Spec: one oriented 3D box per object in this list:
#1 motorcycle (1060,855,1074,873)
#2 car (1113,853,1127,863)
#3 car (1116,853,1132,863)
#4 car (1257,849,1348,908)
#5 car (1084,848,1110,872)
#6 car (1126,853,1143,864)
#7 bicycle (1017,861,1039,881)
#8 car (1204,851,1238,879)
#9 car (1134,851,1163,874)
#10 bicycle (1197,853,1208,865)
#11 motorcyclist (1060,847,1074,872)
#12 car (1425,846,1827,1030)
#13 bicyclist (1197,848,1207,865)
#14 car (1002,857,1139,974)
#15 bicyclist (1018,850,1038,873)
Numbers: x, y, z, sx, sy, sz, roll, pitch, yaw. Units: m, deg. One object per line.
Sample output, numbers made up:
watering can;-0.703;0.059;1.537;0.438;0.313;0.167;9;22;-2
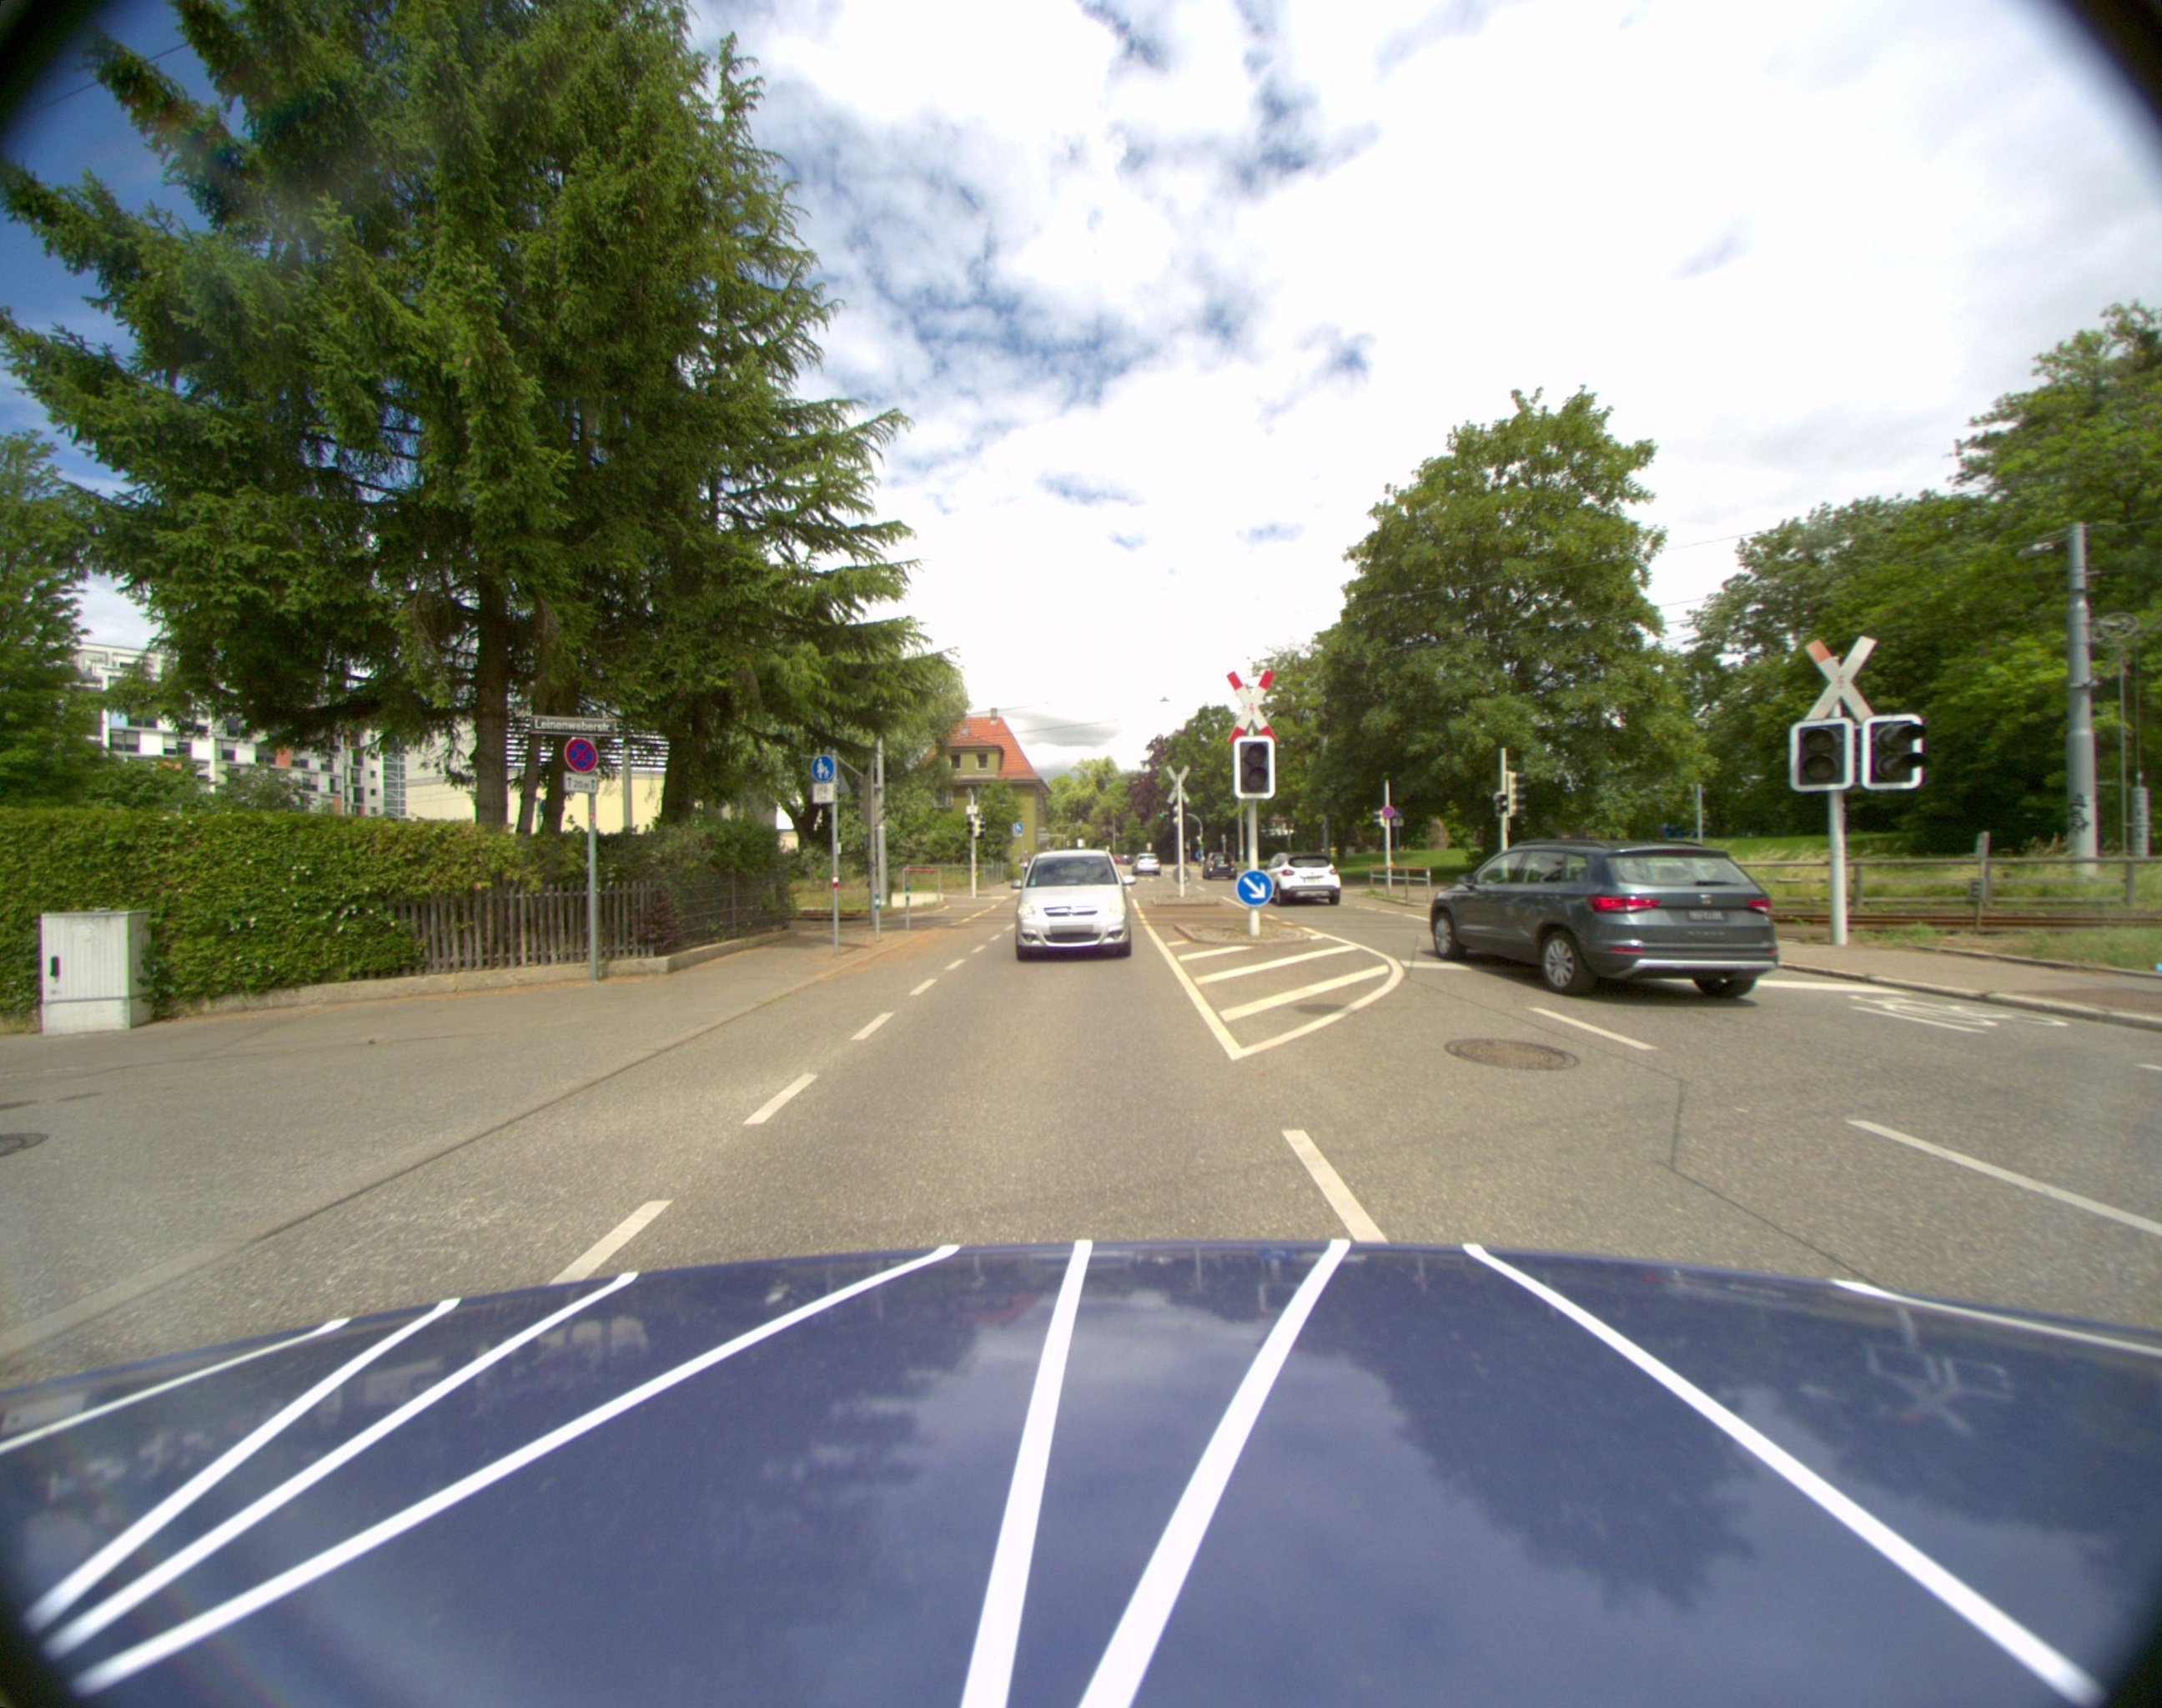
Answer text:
motorcycle;-0.908;0.631;48.677;0.837;1.101;1.800;0;1;1
car;6.413;0.676;125.467;1.899;1.501;3.998;0;0;-5
car;6.806;0.650;120.926;1.899;1.501;3.998;0;0;-5
car;6.655;0.668;23.252;1.779;1.594;4.039;-1;0;3
car;1.346;0.464;66.047;1.999;1.983;4.369;-1;1;-1
car;7.885;0.656;112.024;1.899;1.501;3.998;0;0;-5
bicycle;-2.914;0.915;42.057;0.934;1.034;1.915;1;0;4
car;7.851;0.604;42.919;1.578;1.501;2.789;-1;0;4
car;4.592;0.551;52.197;1.692;1.450;4.069;-1;1;0
bicycle;12.221;0.516;76.645;0.813;1.101;1.800;-3;1;1
motorcyclist;-0.911;0.361;48.647;0.837;1.547;0.650;0;1;1
car;5.709;0.724;8.719;1.779;1.594;4.039;1;0;2
bicyclist;12.211;0.231;76.577;0.807;1.599;0.772;-3;1;1
car;-0.043;0.837;12.183;1.780;1.519;4.001;-2;0;3
bicyclist;-2.911;0.405;42.042;0.934;1.240;1.102;1;0;4
